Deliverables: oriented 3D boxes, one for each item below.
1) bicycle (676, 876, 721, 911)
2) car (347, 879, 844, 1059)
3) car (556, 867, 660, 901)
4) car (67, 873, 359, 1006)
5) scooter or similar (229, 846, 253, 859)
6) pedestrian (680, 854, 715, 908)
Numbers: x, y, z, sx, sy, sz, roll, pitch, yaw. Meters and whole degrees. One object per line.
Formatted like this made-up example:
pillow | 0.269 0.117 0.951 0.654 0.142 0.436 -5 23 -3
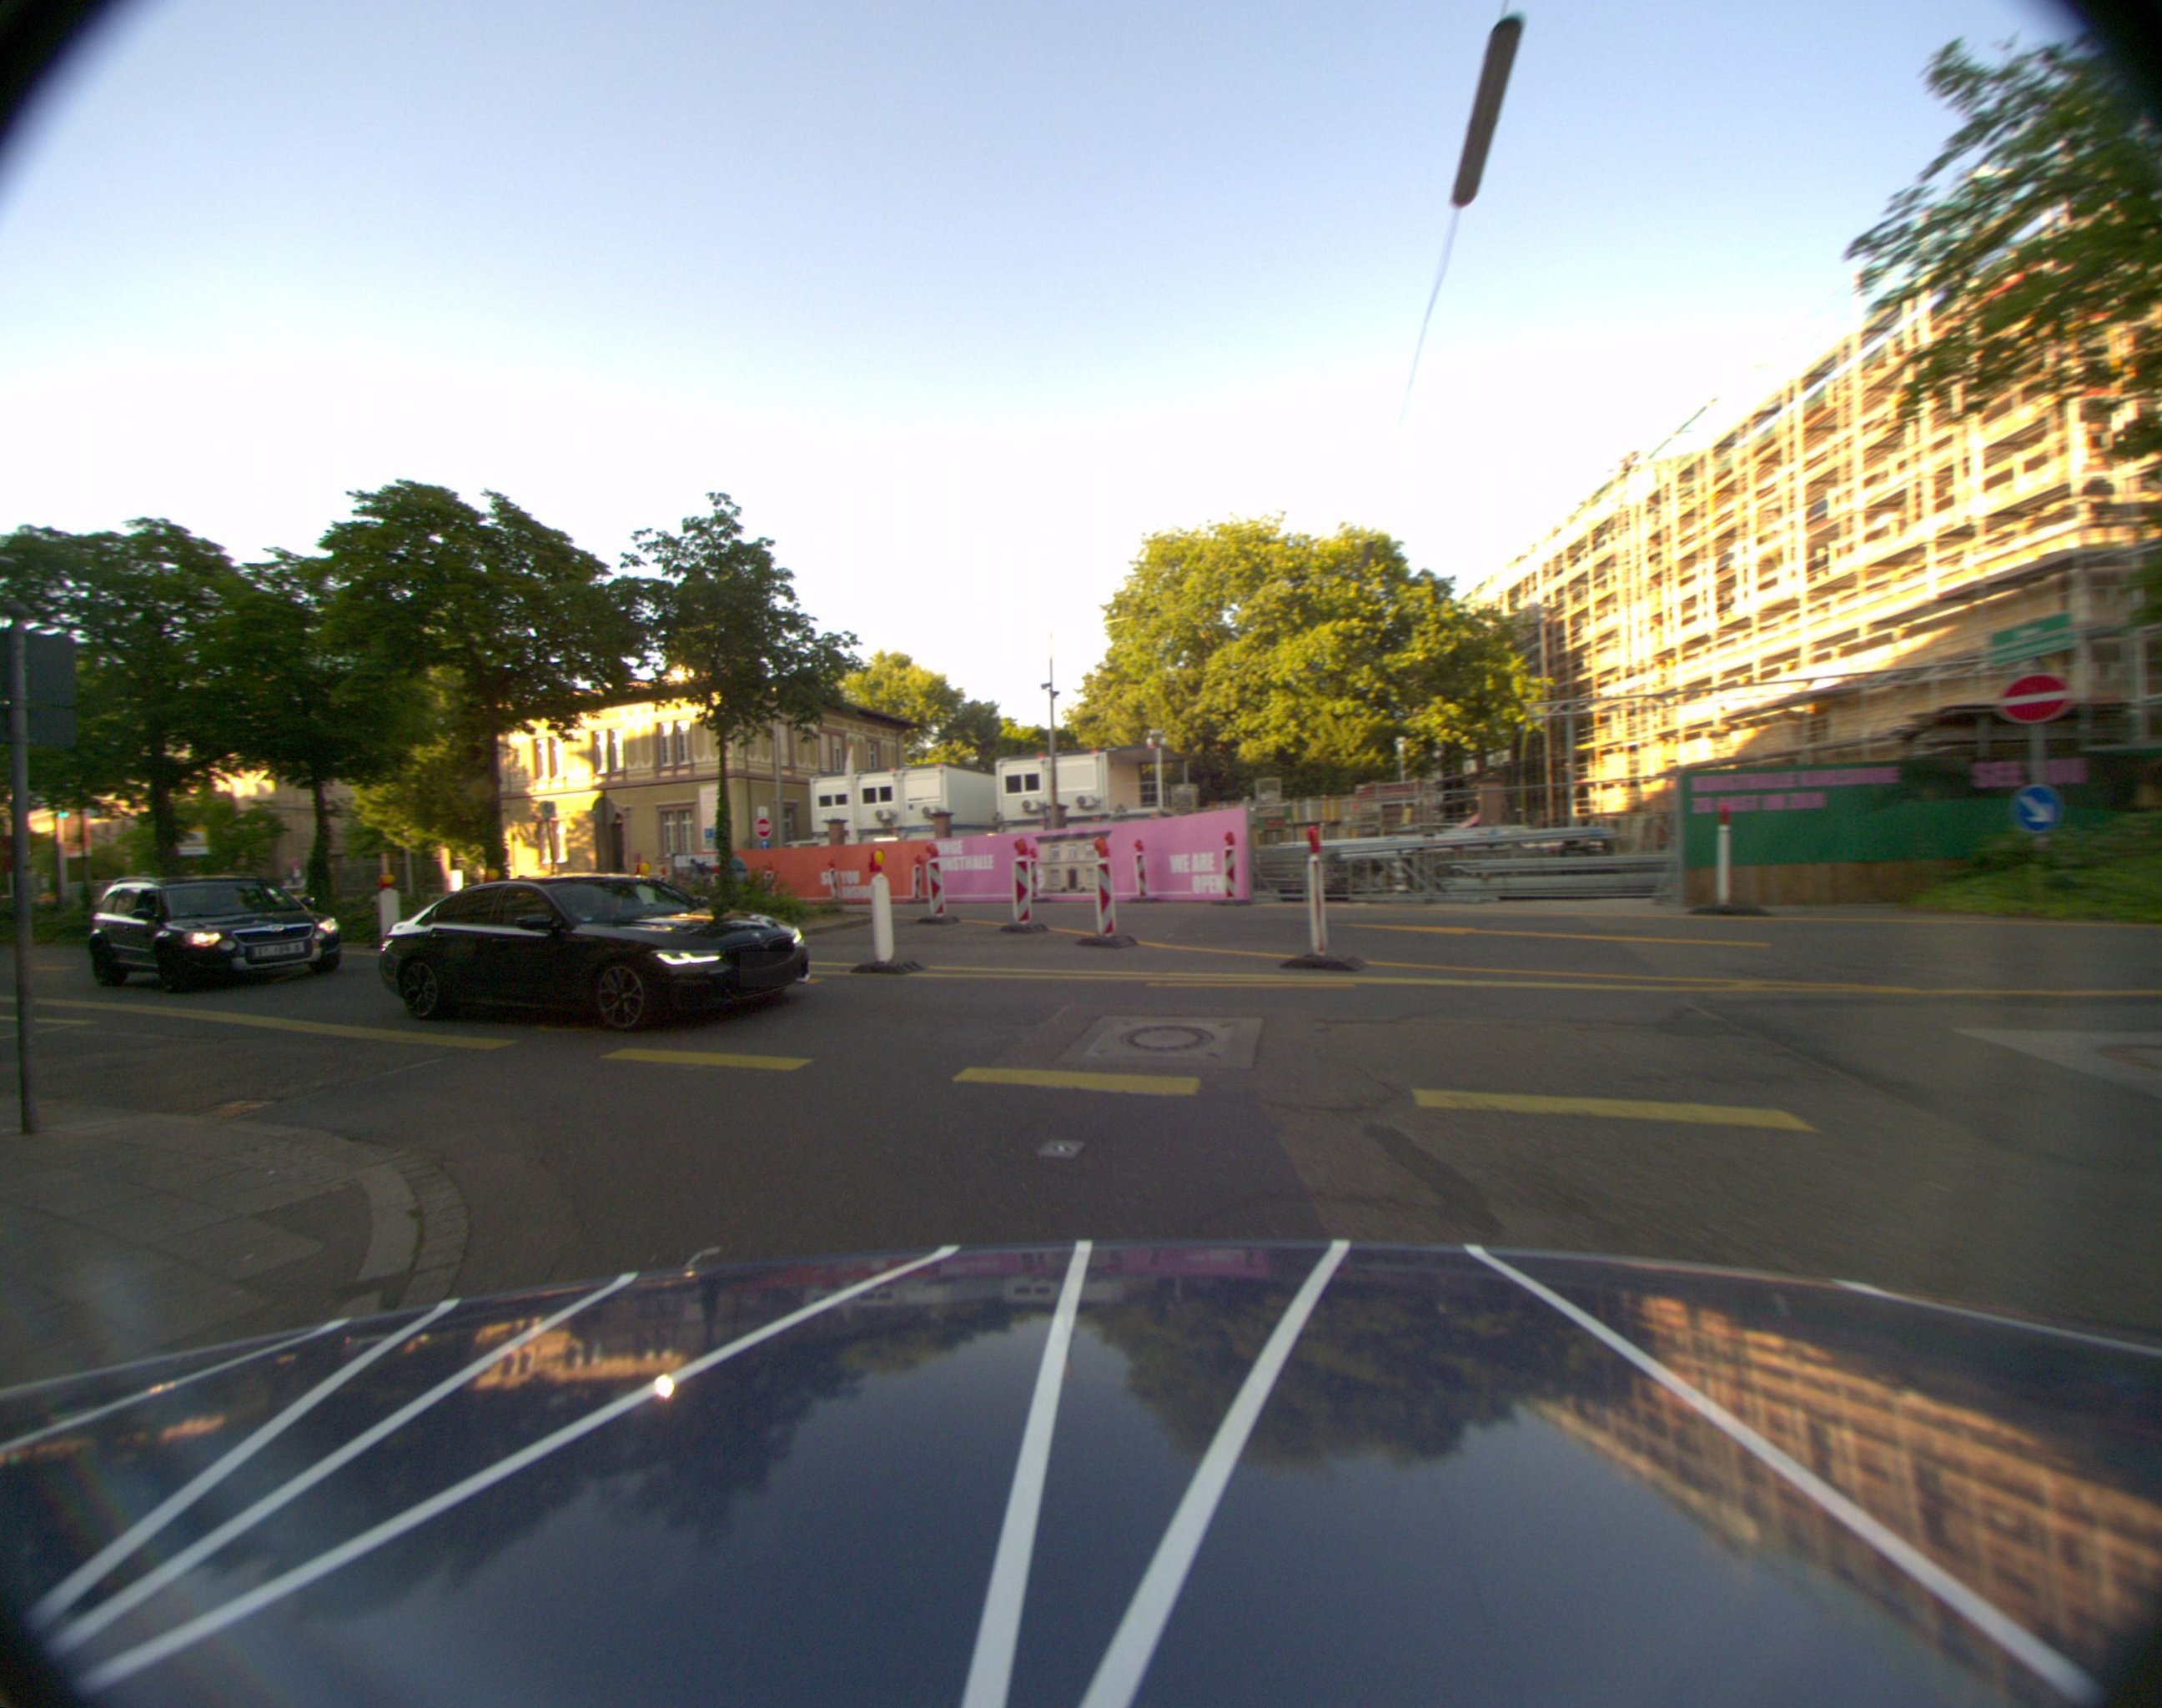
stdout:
bicycle | -12.394 1.249 24.580 0.764 1.031 2.115 -3 1 -41
car | -5.145 1.065 8.082 4.770 1.379 1.968 -2 1 22
car | -20.542 1.292 33.047 3.879 1.343 1.687 -2 -1 18
car | -13.719 1.248 12.002 4.213 1.674 1.842 -2 2 25
scooter or similar | -53.906 -0.089 48.773 1.026 0.773 0.681 -2 1 22
pedestrian | -12.387 0.853 24.543 0.739 1.664 0.893 -4 1 -40
